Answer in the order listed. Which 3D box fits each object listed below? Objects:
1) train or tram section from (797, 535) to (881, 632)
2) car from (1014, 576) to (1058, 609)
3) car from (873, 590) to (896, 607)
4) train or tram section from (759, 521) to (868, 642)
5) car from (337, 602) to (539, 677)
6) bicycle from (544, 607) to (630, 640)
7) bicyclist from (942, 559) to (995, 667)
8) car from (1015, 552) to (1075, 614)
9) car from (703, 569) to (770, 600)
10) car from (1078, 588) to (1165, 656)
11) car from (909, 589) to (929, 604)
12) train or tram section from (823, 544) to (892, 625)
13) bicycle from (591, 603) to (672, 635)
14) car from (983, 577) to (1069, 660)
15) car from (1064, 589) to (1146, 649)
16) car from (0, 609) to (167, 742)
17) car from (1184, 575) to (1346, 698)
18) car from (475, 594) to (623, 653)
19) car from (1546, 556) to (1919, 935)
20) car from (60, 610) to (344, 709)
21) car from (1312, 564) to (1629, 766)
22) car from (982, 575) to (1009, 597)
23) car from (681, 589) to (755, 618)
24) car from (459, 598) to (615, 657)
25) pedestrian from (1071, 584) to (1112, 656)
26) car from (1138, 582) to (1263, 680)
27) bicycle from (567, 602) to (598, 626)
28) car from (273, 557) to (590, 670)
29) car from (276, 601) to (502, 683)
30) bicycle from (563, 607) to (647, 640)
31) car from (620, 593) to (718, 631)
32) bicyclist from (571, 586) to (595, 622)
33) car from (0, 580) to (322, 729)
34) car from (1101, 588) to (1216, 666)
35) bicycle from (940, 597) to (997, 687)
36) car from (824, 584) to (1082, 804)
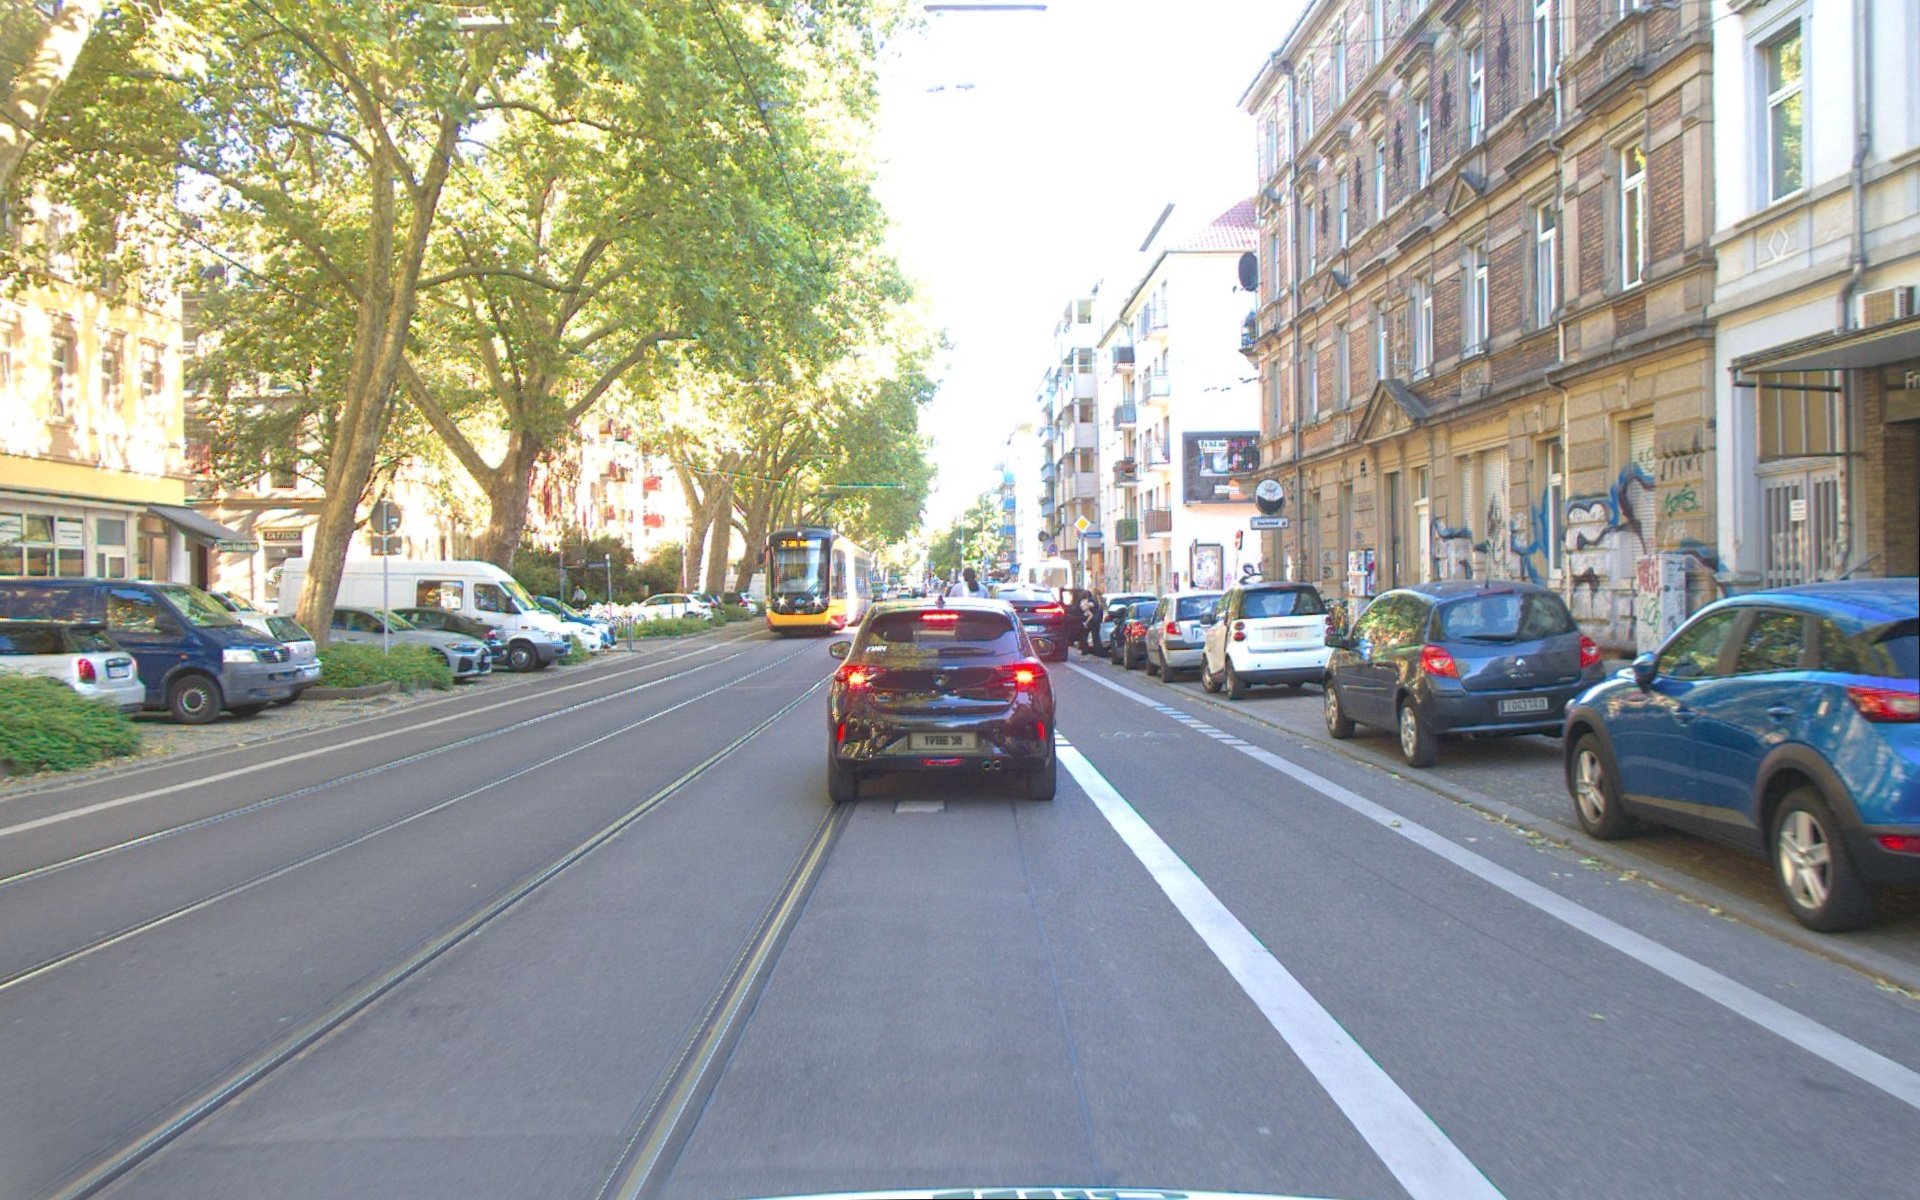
[{"bbox_3d":[-5.055,-0.664,71.331,2.679,3.746,12.715,-1,0,0],"label":"train or tram section"},{"bbox_3d":[3.447,-0.342,75.496,1.773,1.361,3.933,-4,0,0],"label":"car"},{"bbox_3d":[-6.431,-0.148,141.874,1.773,1.361,3.933,-1,0,0],"label":"car"},{"bbox_3d":[-4.987,-0.619,58.604,2.679,3.746,12.715,-1,0,0],"label":"train or tram section"},{"bbox_3d":[-11.202,0.836,35.701,3.842,1.524,1.676,1,0,-4],"label":"car"},{"bbox_3d":[-13.359,0.838,59.317,2.880,1.190,0.991,0,0,15],"label":"bicycle"},{"bbox_3d":[0.130,0.205,27.802,0.831,1.770,1.161,0,0,-3],"label":"bicyclist"},{"bbox_3d":[3.368,-0.670,66.504,2.033,2.257,4.933,-4,0,0],"label":"car"},{"bbox_3d":[-13.431,-0.923,99.632,3.842,1.821,1.676,1,0,-4],"label":"car"},{"bbox_3d":[3.868,0.495,40.117,1.628,1.444,3.933,-4,0,0],"label":"car"},{"bbox_3d":[-3.872,-0.296,155.673,1.773,1.361,3.932,-1,0,-1],"label":"car"},{"bbox_3d":[-5.079,-0.757,84.070,2.679,3.746,12.715,-1,0,0],"label":"train or tram section"},{"bbox_3d":[-12.482,0.734,62.831,2.880,1.190,0.991,0,0,15],"label":"bicycle"},{"bbox_3d":[1.461,0.389,37.721,1.773,1.772,3.933,1,0,0],"label":"car"},{"bbox_3d":[3.863,0.485,44.684,1.773,1.403,3.933,-4,0,0],"label":"car"},{"bbox_3d":[-11.971,0.884,20.246,3.659,1.524,1.746,1,0,-2],"label":"car"},{"bbox_3d":[4.331,0.490,23.875,1.536,1.543,3.038,-4,0,-3],"label":"car"},{"bbox_3d":[-11.737,0.654,47.402,3.842,1.605,1.676,1,0,-4],"label":"car"},{"bbox_3d":[4.784,0.553,8.772,1.842,1.481,4.025,-4,0,0],"label":"car"},{"bbox_3d":[-11.789,0.907,25.882,3.659,1.455,1.637,1,0,-2],"label":"car"},{"bbox_3d":[4.533,0.518,15.267,1.676,1.509,3.763,-4,0,0],"label":"car"},{"bbox_3d":[2.484,-0.985,116.911,1.773,1.361,3.933,-4,0,0],"label":"car"},{"bbox_3d":[-13.197,0.213,90.327,3.842,1.524,1.676,1,0,-4],"label":"car"},{"bbox_3d":[-11.443,0.733,44.919,3.842,1.524,1.676,1,0,-4],"label":"car"},{"bbox_3d":[2.931,0.441,36.836,0.848,1.594,0.769,0,0,8],"label":"pedestrian"},{"bbox_3d":[4.140,0.496,28.924,1.670,1.481,3.698,-4,0,2],"label":"car"},{"bbox_3d":[-18.688,0.684,81.976,0.967,1.190,2.950,0,0,-3],"label":"bicycle"},{"bbox_3d":[-12.101,0.310,38.270,6.493,2.451,2.457,1,0,-1],"label":"car"},{"bbox_3d":[-11.196,0.801,32.605,3.839,1.524,1.677,1,0,0],"label":"car"},{"bbox_3d":[-13.007,0.859,60.609,2.880,1.190,0.991,0,0,15],"label":"bicycle"},{"bbox_3d":[-12.158,0.504,69.266,3.842,1.524,1.676,1,0,-4],"label":"car"},{"bbox_3d":[-18.689,0.207,81.973,0.967,1.787,1.153,0,0,-3],"label":"bicyclist"},{"bbox_3d":[-11.648,0.725,23.196,4.579,1.957,1.980,1,0,0],"label":"car"},{"bbox_3d":[3.967,0.508,33.629,1.773,1.361,3.933,-4,0,0],"label":"car"},{"bbox_3d":[0.125,0.678,27.804,0.843,1.431,2.523,0,0,-2],"label":"bicycle"},{"bbox_3d":[-0.092,0.627,13.086,1.757,1.466,3.530,0,1,-2],"label":"car"}]
